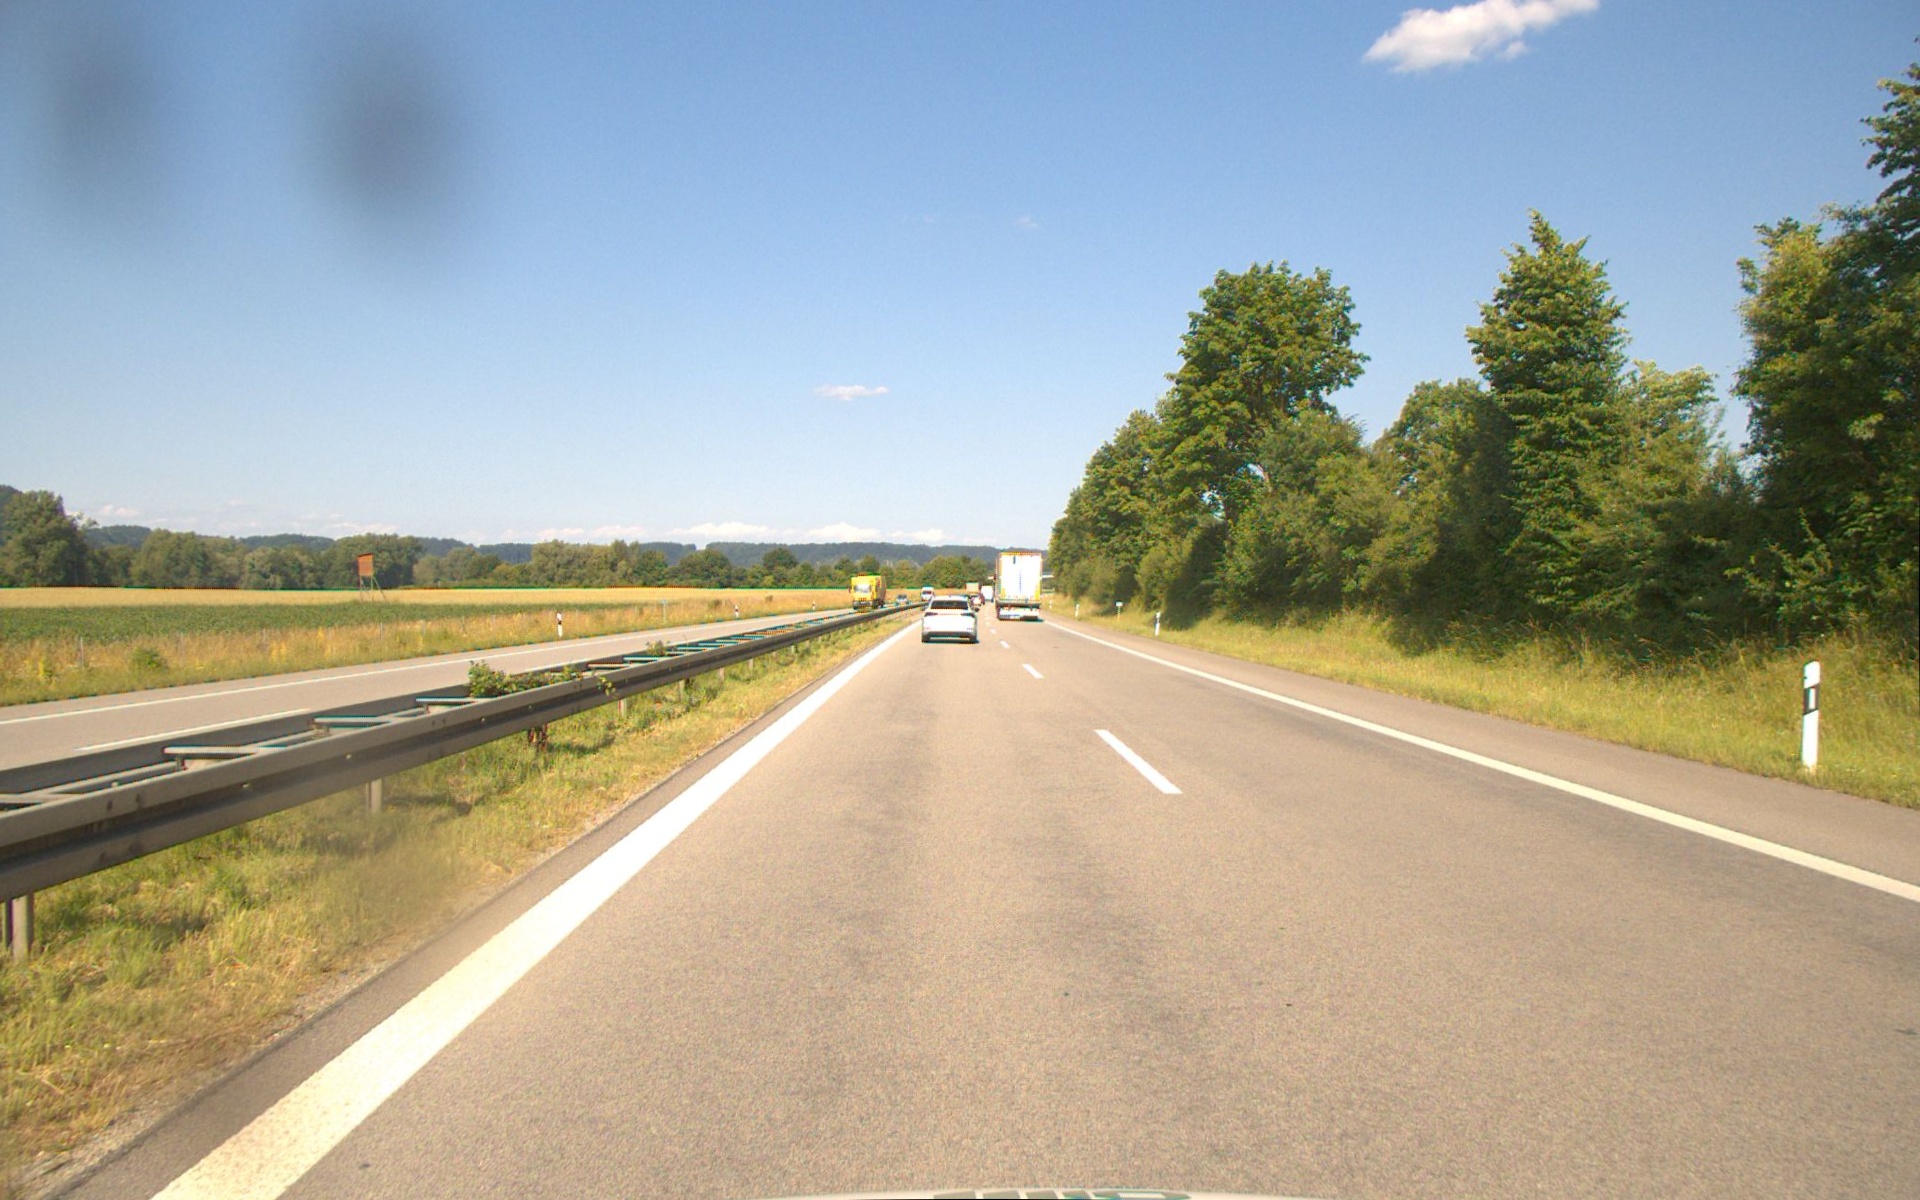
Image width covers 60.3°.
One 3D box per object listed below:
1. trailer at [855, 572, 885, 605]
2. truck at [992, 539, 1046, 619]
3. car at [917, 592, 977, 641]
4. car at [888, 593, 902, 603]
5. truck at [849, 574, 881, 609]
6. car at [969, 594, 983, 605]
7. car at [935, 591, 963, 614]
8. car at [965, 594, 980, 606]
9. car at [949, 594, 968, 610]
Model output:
[{"bbox_3d":[-9.953,-1.260,184.362,2.679,3.520,9.233,-2,0,0],"label":"trailer"},{"bbox_3d":[3.544,-1.292,101.913,3.087,4.693,8.906,0,0,1],"label":"truck"},{"bbox_3d":[-0.436,0.505,53.522,1.803,1.446,5.253,1,0,-1],"label":"car"},{"bbox_3d":[-9.342,-0.331,237.757,1.798,1.400,4.000,0,0,0],"label":"car"},{"bbox_3d":[-9.970,-0.888,175.107,2.680,3.442,9.233,-3,0,0],"label":"truck"},{"bbox_3d":[2.118,-0.085,219.834,1.735,1.446,4.364,1,0,0],"label":"car"},{"bbox_3d":[-0.708,0.140,109.005,1.735,1.446,4.495,1,0,0],"label":"car"},{"bbox_3d":[1.536,-0.003,198.514,1.735,1.446,4.365,1,0,0],"label":"car"},{"bbox_3d":[-0.128,0.173,155.229,1.735,1.446,4.365,1,0,0],"label":"car"}]
